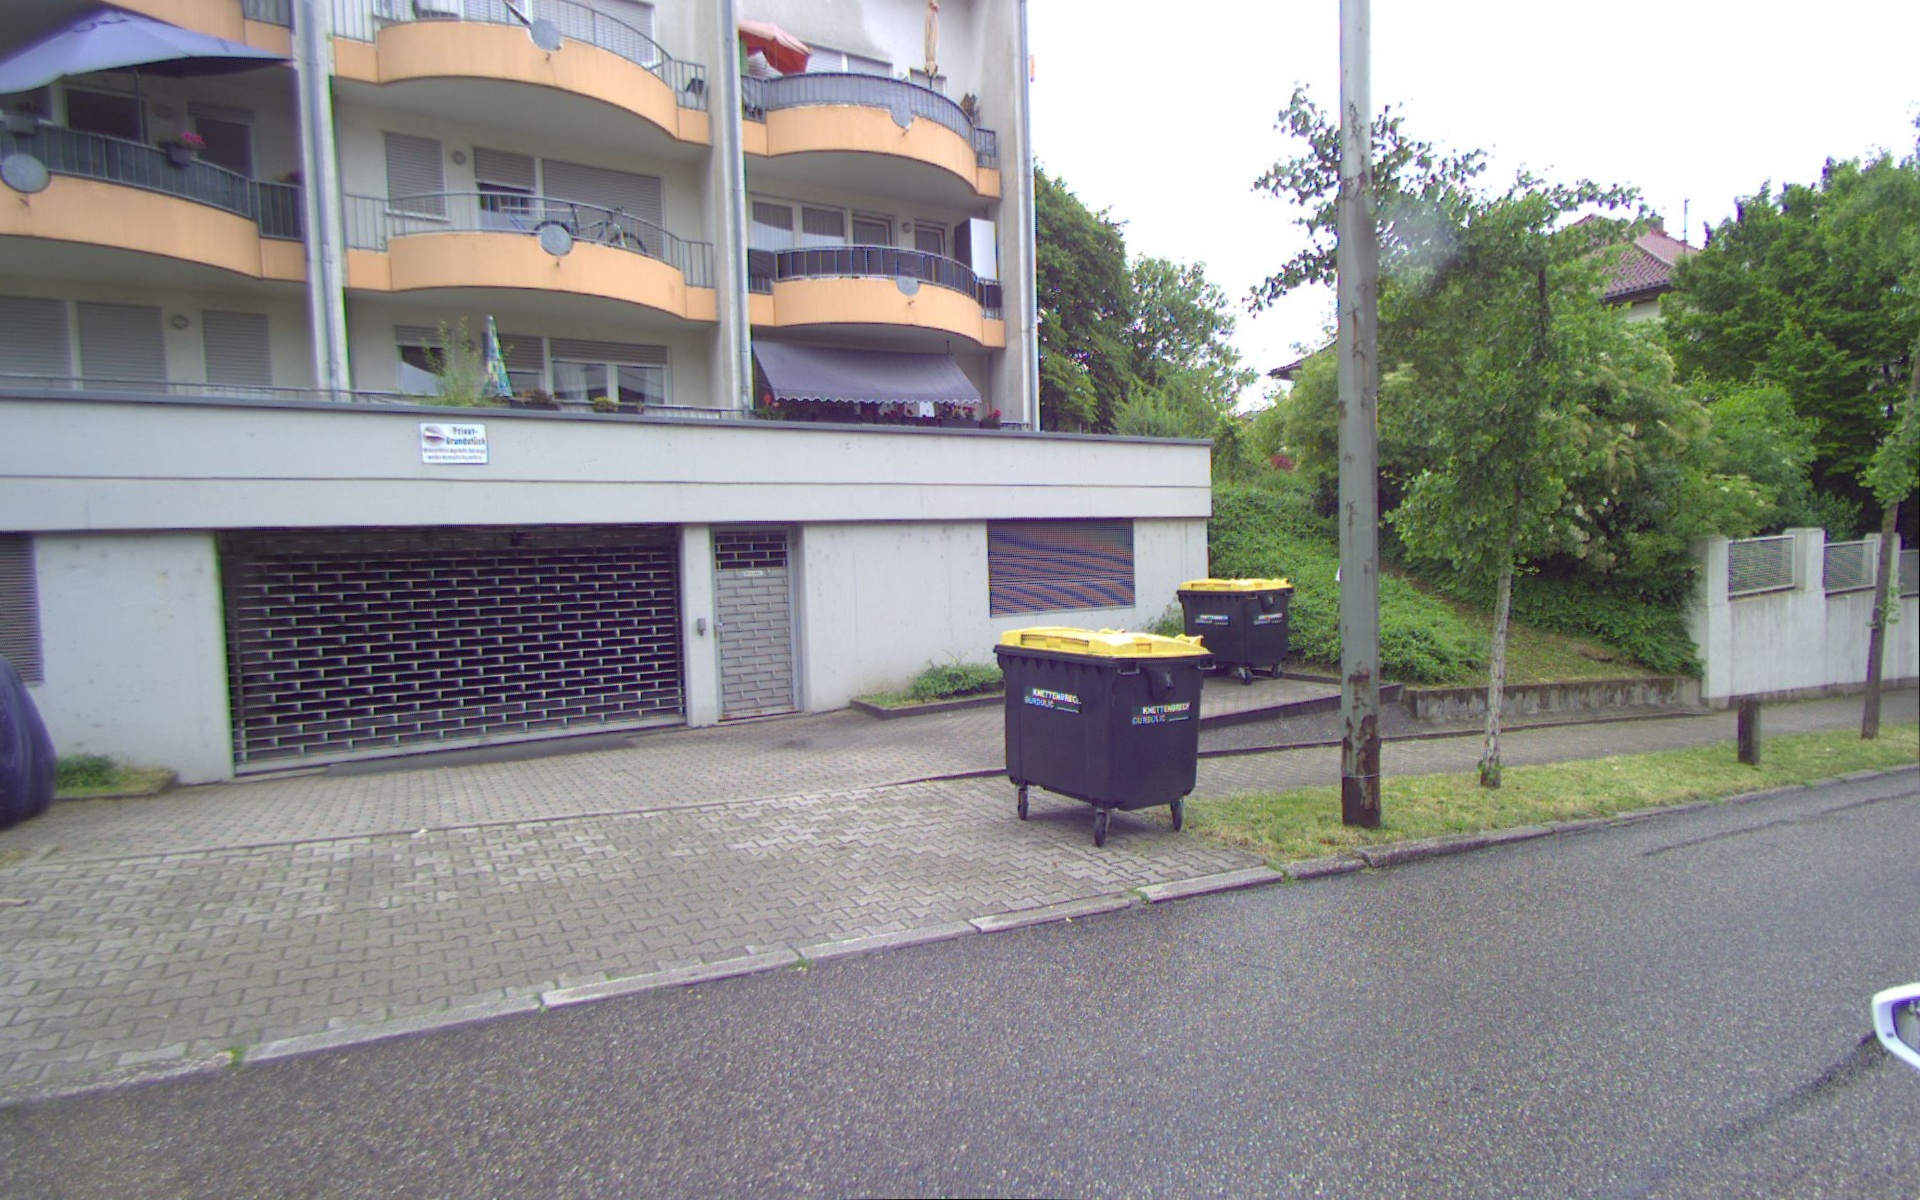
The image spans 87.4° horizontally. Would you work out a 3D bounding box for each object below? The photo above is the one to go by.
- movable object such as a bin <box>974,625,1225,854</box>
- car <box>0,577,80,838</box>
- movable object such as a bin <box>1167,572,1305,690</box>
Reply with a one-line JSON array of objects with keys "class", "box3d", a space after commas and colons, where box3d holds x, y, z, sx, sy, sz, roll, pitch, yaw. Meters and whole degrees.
[{"class": "movable object such as a bin", "box3d": [0.950, 0.877, 6.994, 1.145, 1.324, 1.288, 0, 2, -38]}, {"class": "car", "box3d": [-7.956, 0.667, 5.764, 4.050, 1.582, 1.770, 1, -4, -31]}, {"class": "movable object such as a bin", "box3d": [3.710, 0.373, 13.515, 1.215, 1.383, 1.289, -7, 6, -36]}]
